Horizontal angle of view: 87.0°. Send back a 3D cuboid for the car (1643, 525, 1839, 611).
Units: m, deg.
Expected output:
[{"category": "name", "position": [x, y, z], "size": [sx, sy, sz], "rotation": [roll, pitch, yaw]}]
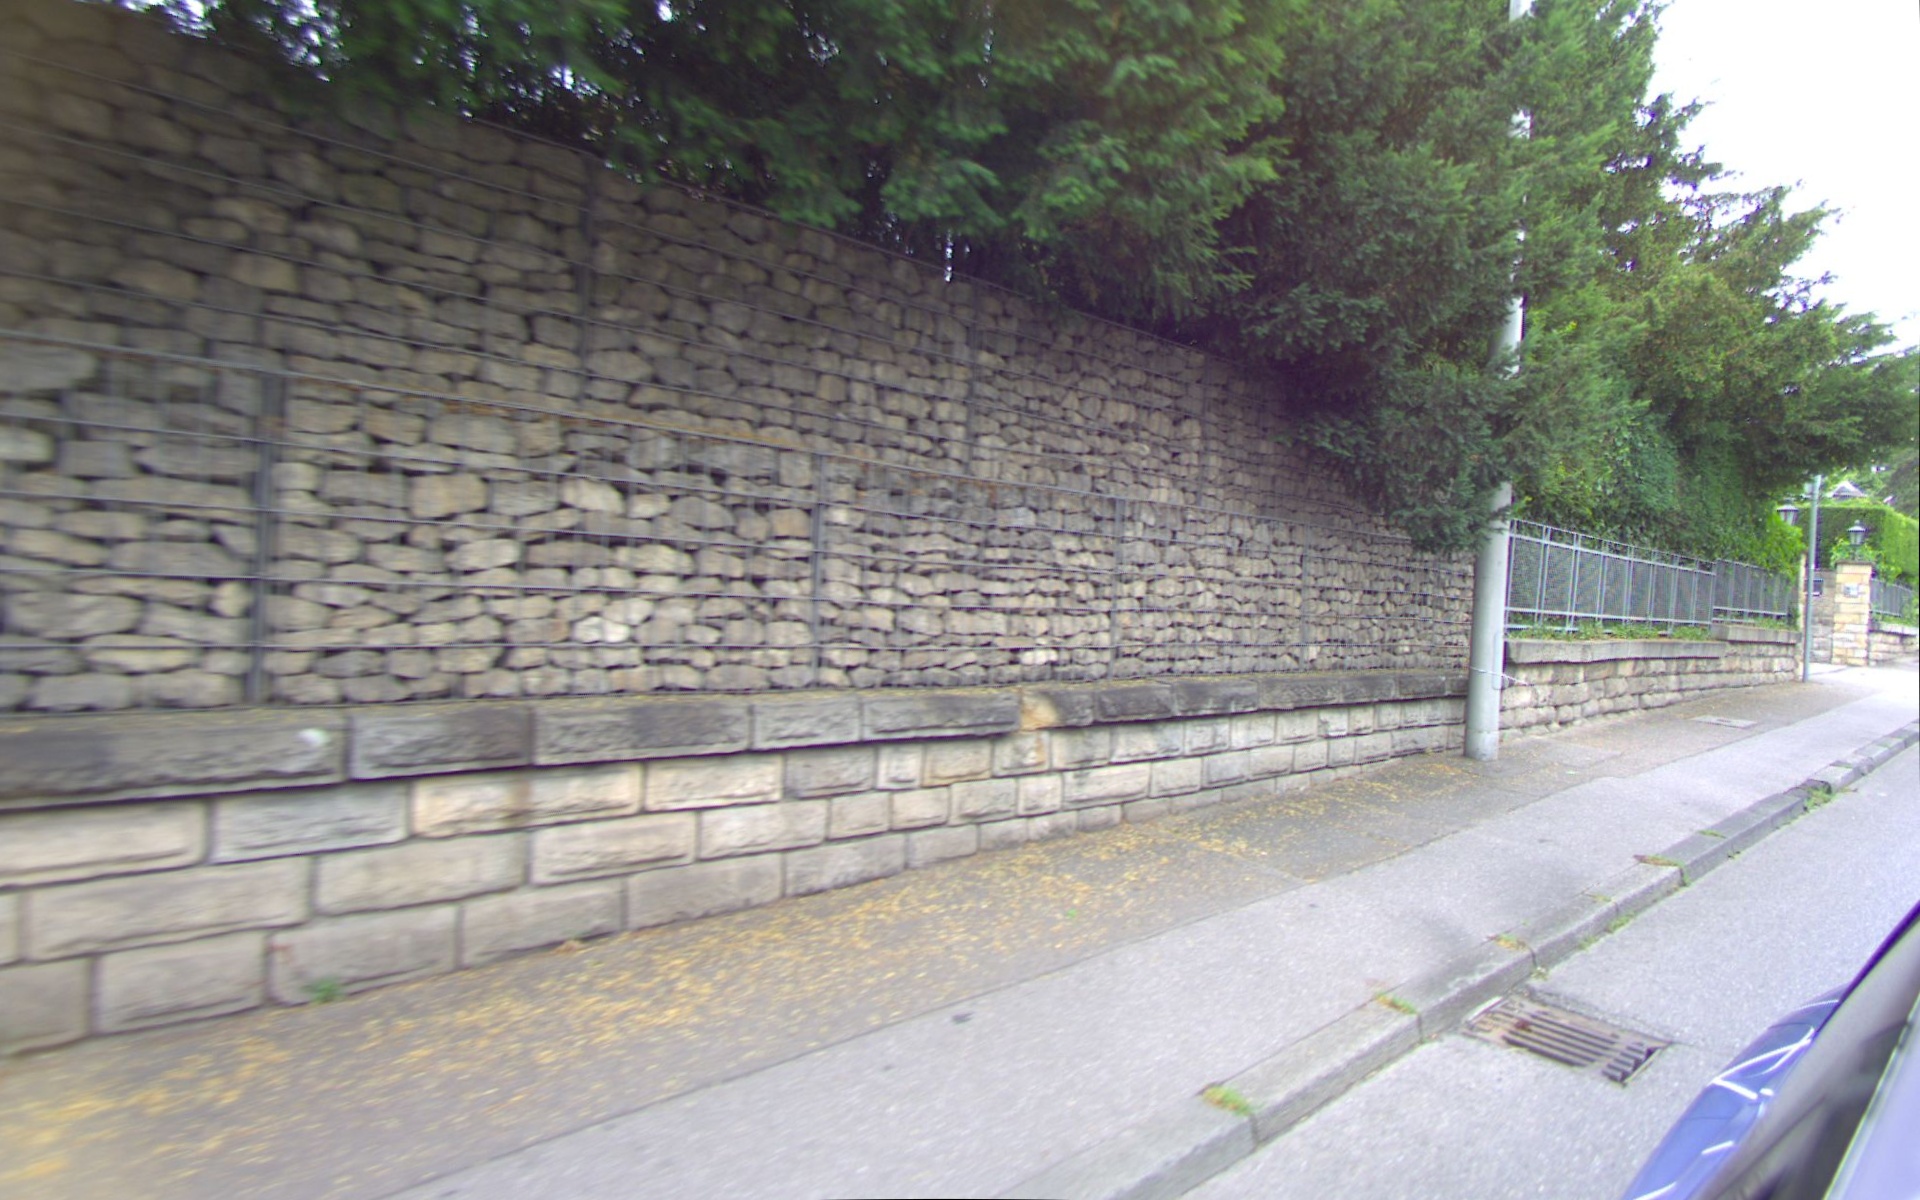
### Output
[{"category": "car", "position": [21.112, -0.896, 27.472], "size": [1.782, 1.628, 3.755], "rotation": [0, 11, -41]}]
